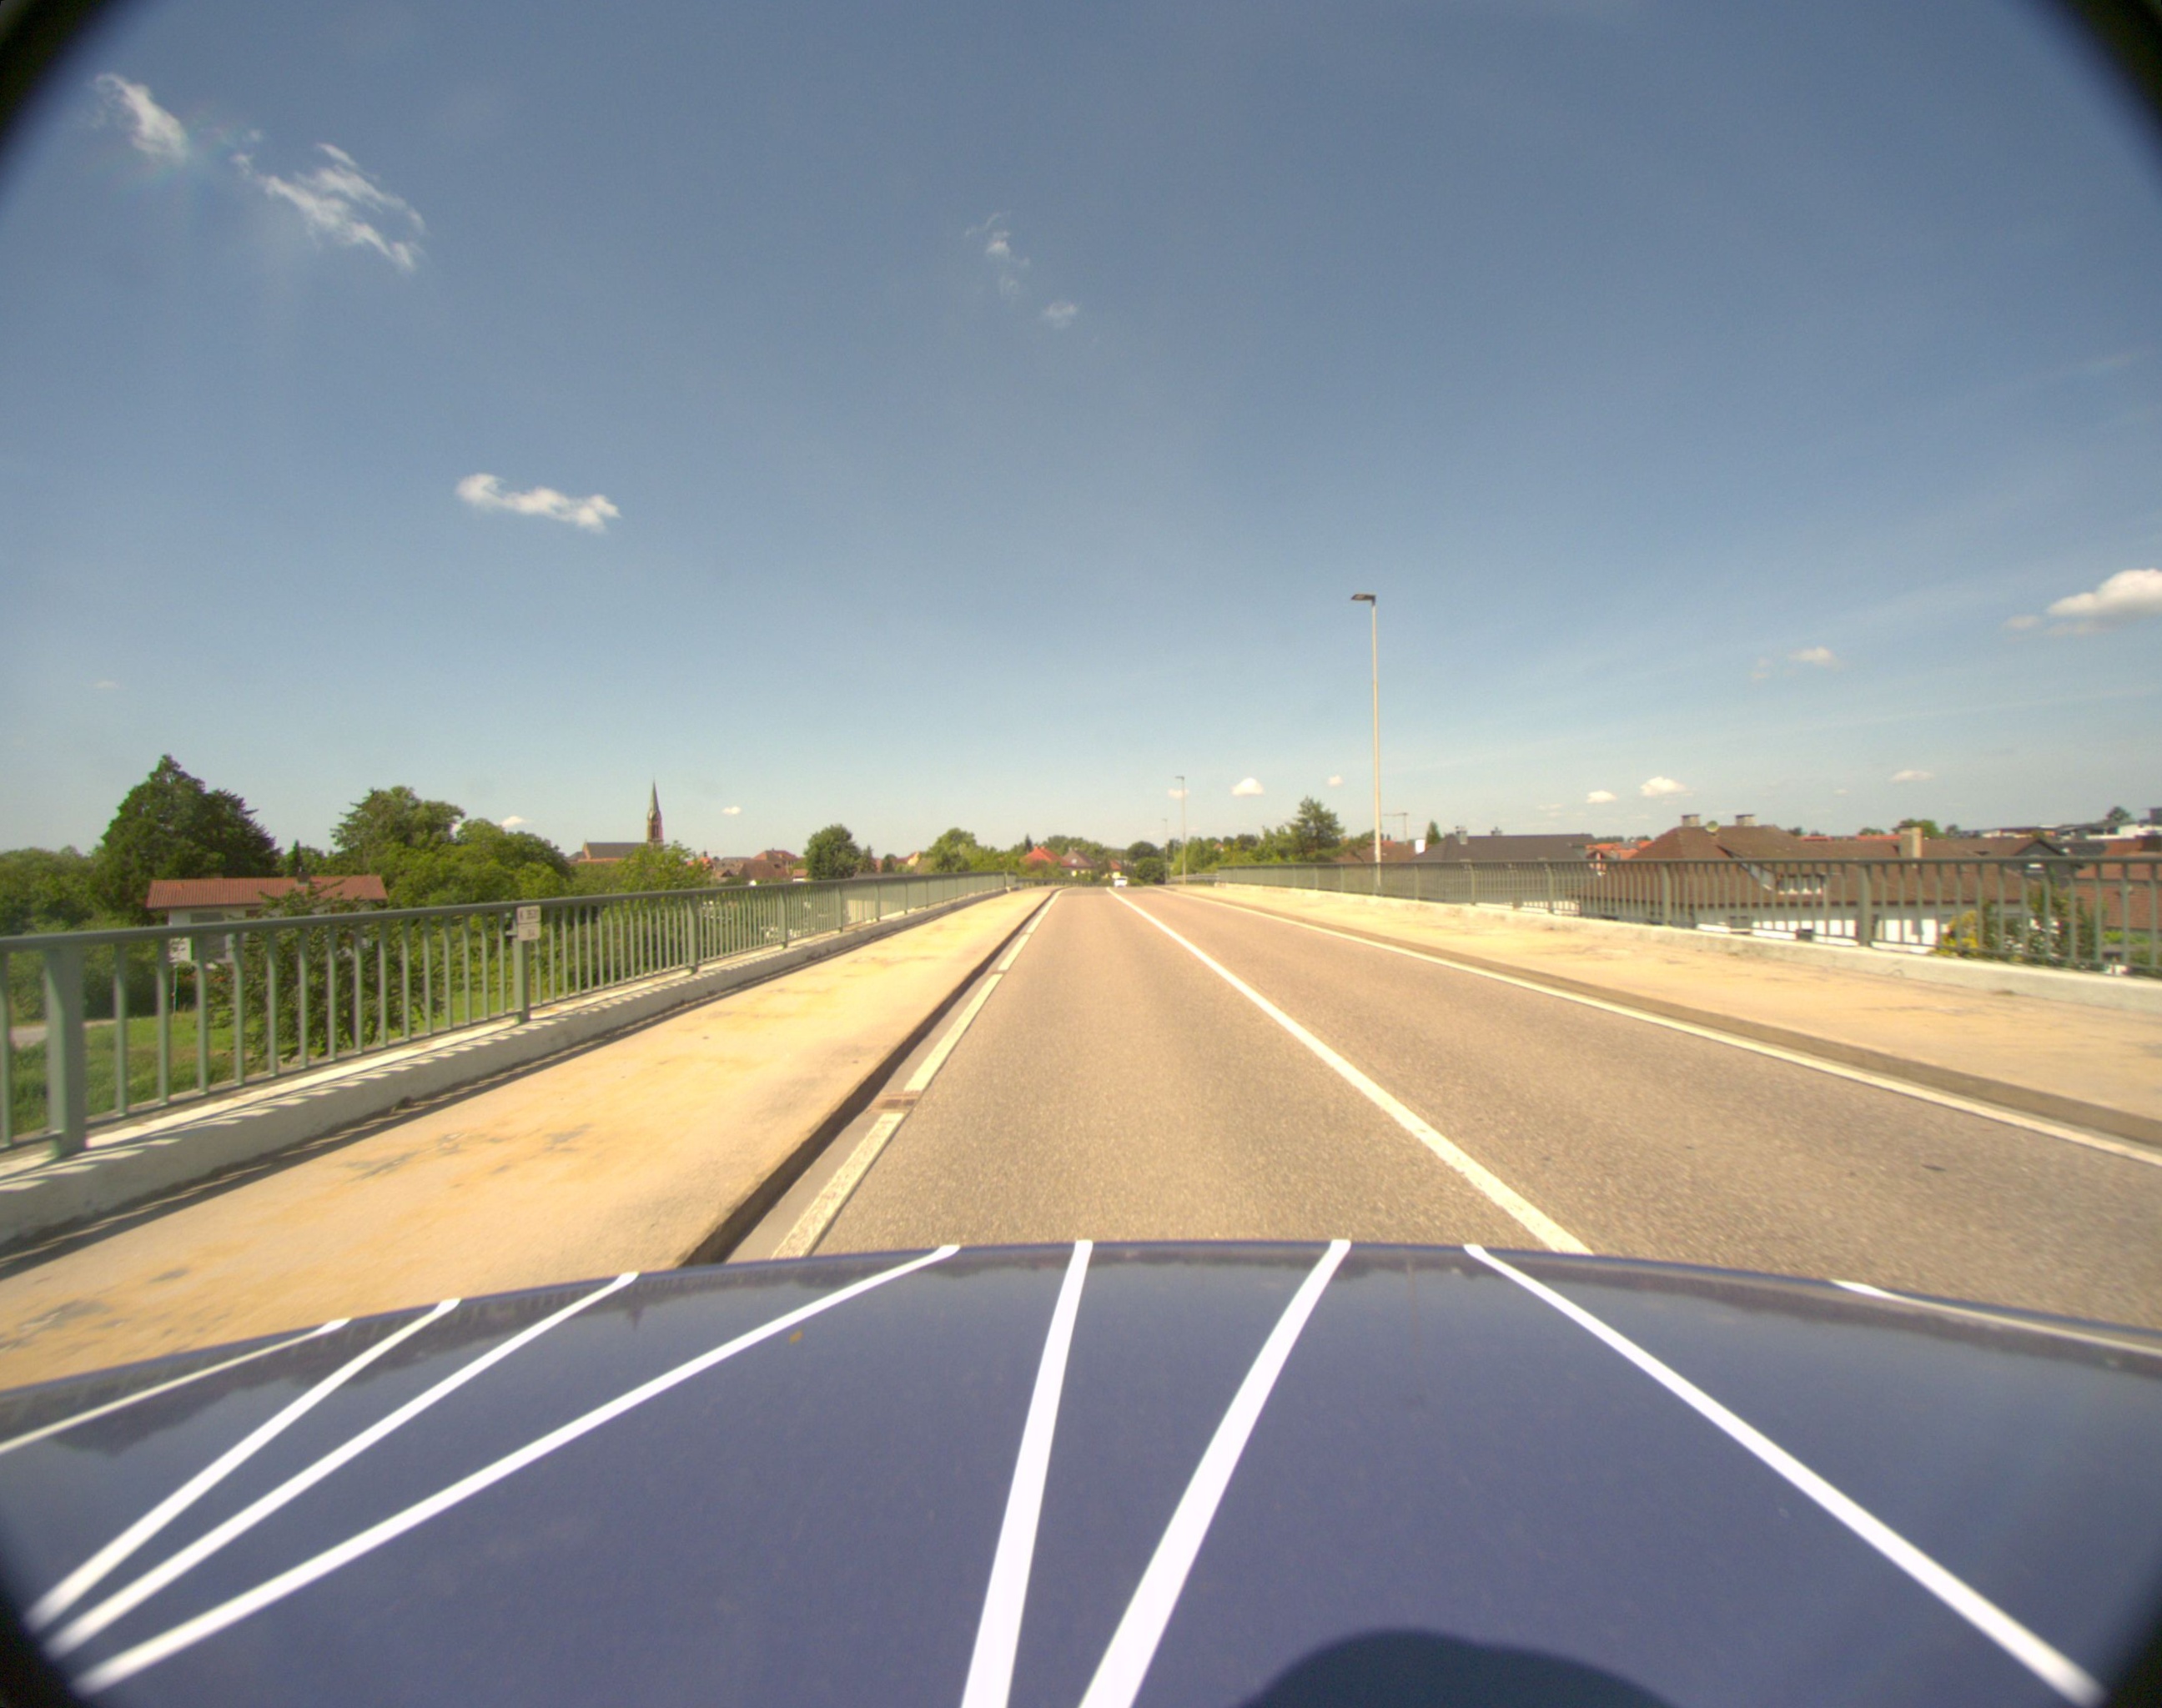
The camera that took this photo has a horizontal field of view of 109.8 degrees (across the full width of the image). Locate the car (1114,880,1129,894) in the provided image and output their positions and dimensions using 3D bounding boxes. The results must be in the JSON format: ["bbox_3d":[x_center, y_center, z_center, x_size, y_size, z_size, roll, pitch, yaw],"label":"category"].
[{"bbox_3d":[6.080,4.853,113.344,2.092,1.751,4.283,-3,1,2],"label":"car"}]
